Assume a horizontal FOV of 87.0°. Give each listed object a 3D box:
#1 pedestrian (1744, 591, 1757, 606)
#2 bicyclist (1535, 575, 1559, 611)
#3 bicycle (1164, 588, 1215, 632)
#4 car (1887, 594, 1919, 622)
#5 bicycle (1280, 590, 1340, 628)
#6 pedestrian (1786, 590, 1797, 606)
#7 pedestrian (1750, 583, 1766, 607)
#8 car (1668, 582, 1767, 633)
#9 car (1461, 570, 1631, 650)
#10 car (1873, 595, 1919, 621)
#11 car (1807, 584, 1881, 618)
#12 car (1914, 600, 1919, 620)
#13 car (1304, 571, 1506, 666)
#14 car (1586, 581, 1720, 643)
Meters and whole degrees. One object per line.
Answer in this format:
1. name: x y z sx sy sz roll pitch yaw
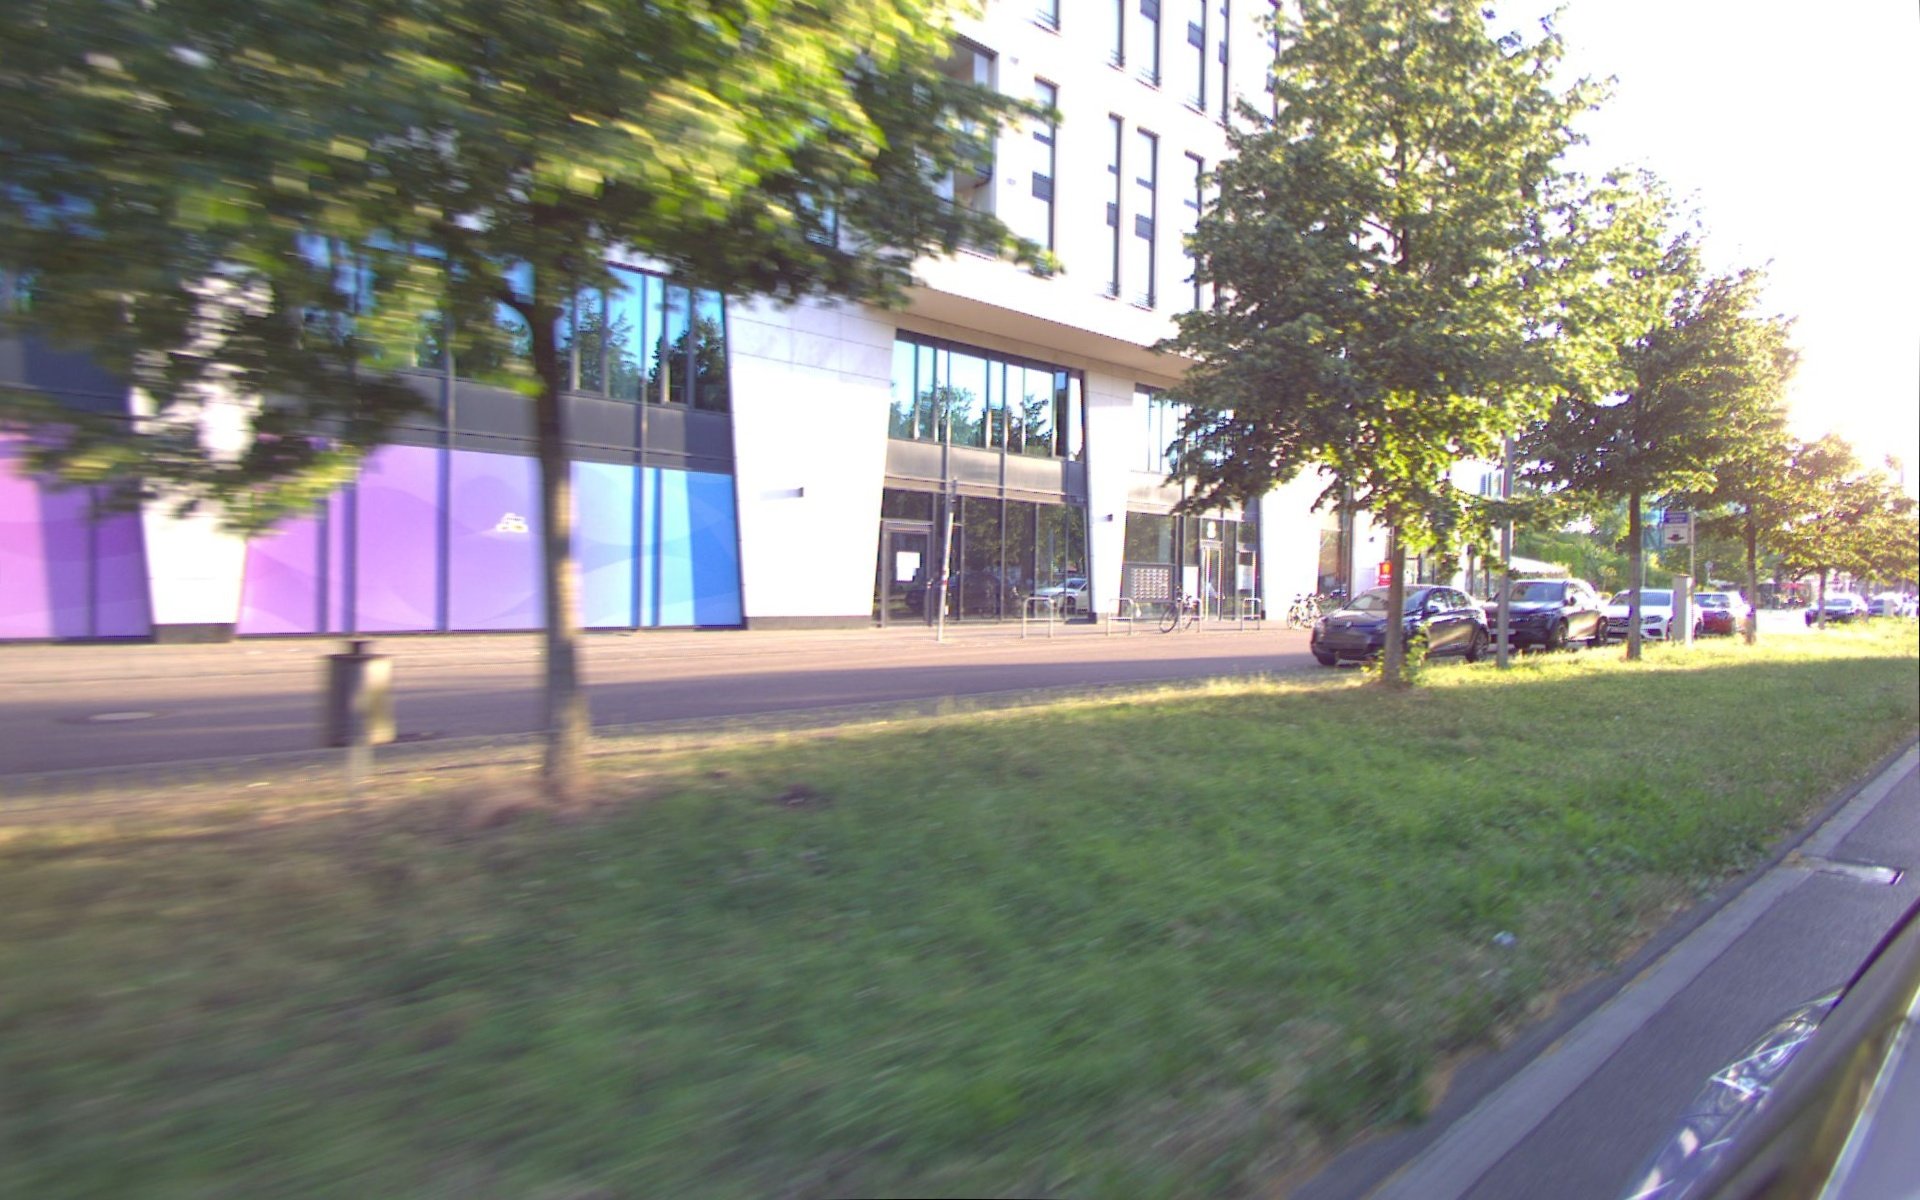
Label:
1. pedestrian: 69.606 -0.123 89.085 0.757 1.281 0.744 1 0 -41
2. bicyclist: 26.084 -0.313 44.982 1.001 1.588 0.546 1 0 -38
3. bicycle: 5.836 0.244 25.675 0.533 1.073 1.587 1 1 43
4. car: 58.844 0.505 62.551 4.595 1.653 1.810 1 -2 -42
5. bicycle: 10.069 0.248 29.066 2.223 1.046 0.621 0 1 -43
6. pedestrian: 71.593 -0.168 87.139 0.741 1.385 0.760 1 0 38
7. pedestrian: 56.792 -0.380 72.036 1.060 1.675 0.696 1 0 -42
8. car: 24.462 0.233 32.638 3.891 1.520 1.811 1 1 -42
9. car: 13.356 0.228 22.940 4.737 1.644 1.955 0 -1 -42
10. car: 55.070 0.464 59.476 3.931 1.416 1.752 1 0 -42
11. car: 41.711 0.060 47.729 4.288 1.519 1.814 1 1 -38
12. car: 75.019 0.763 77.868 5.318 1.520 1.922 1 1 -42
13. car: 8.049 0.310 18.132 4.158 1.520 1.727 1 0 -41
14. car: 18.957 0.305 27.593 4.923 1.520 1.924 1 1 -42
